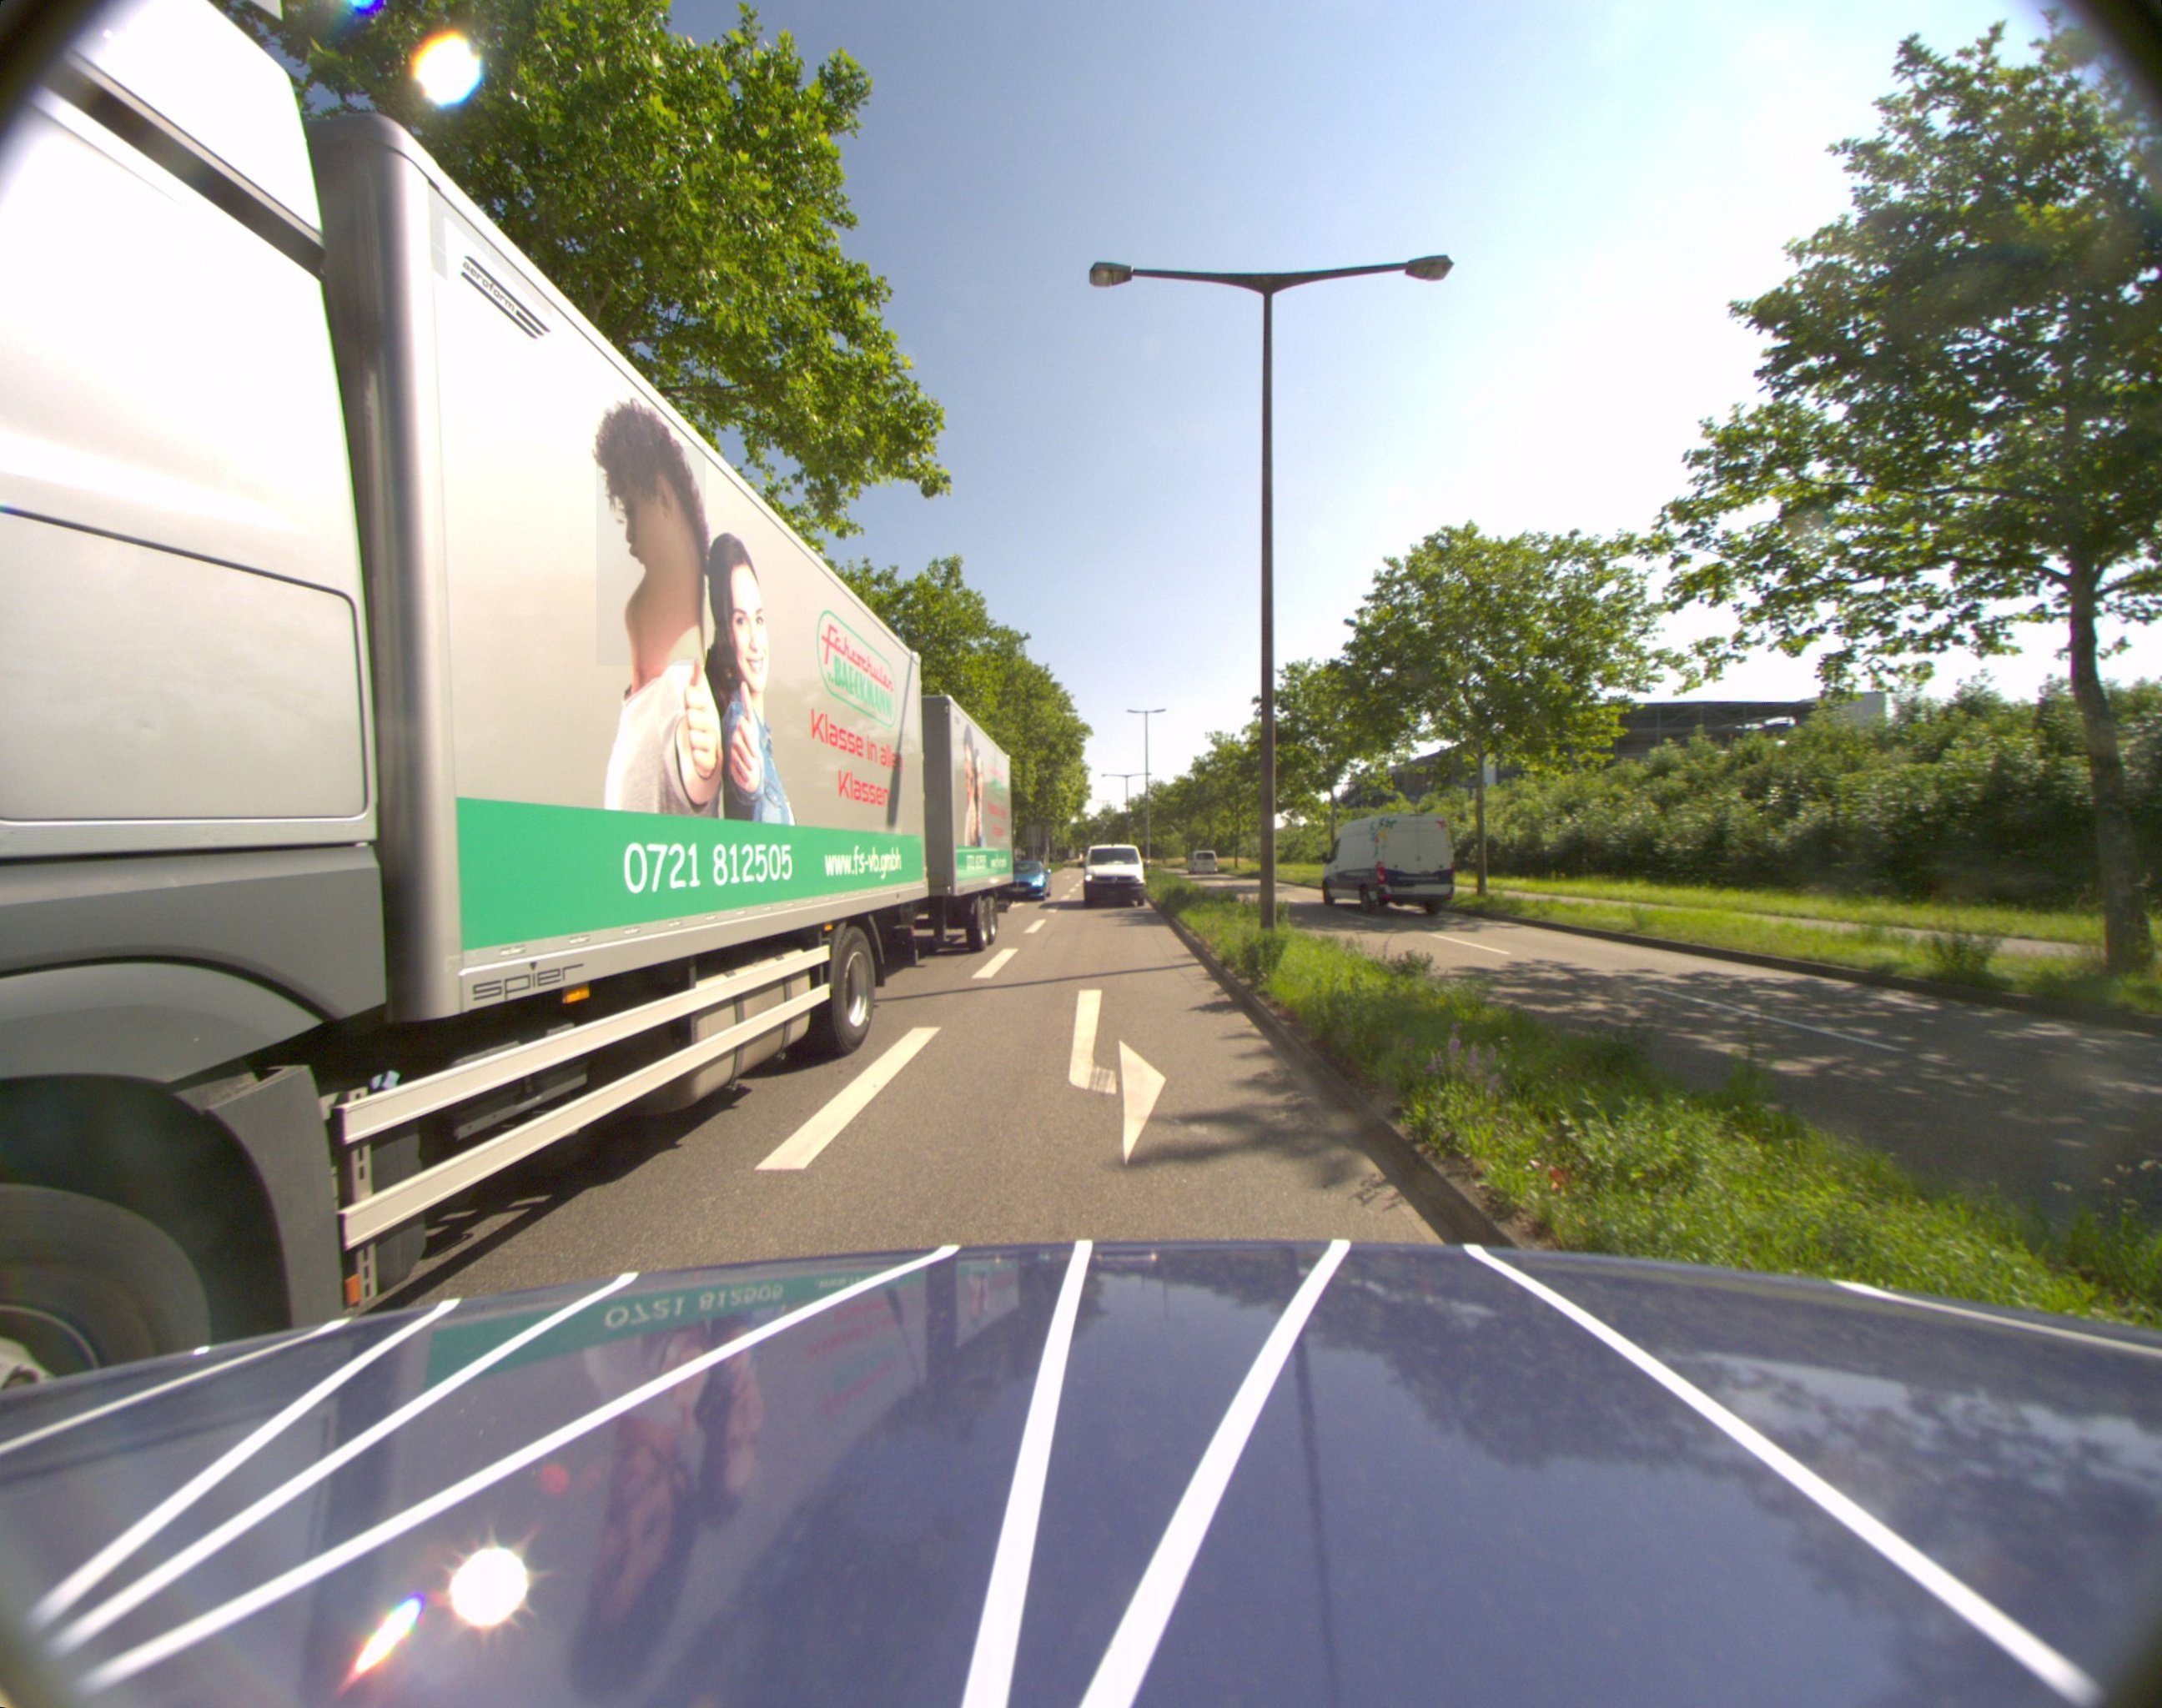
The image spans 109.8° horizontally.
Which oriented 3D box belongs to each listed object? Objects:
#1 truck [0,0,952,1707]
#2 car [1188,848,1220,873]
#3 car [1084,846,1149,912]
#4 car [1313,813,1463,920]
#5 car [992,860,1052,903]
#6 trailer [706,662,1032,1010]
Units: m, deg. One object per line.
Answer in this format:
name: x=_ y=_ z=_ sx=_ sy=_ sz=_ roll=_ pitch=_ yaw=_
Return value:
truck: x=-3.083 y=-0.336 z=4.106 sx=2.735 sy=3.867 sz=8.723 roll=-1 pitch=1 yaw=3
car: x=9.964 y=0.516 z=61.913 sx=1.998 sy=1.887 sz=4.575 roll=1 pitch=0 yaw=3
car: x=1.051 y=0.708 z=24.266 sx=1.872 sy=1.889 sz=4.881 roll=0 pitch=0 yaw=1
car: x=8.534 y=0.305 z=21.863 sx=1.998 sy=2.647 sz=5.786 roll=1 pitch=0 yaw=1
car: x=-2.117 y=0.970 z=28.423 sx=1.872 sy=1.412 sz=4.130 roll=0 pitch=0 yaw=1
trailer: x=-2.618 y=-0.231 z=12.349 sx=2.743 sy=3.854 sz=7.736 roll=-1 pitch=1 yaw=3
